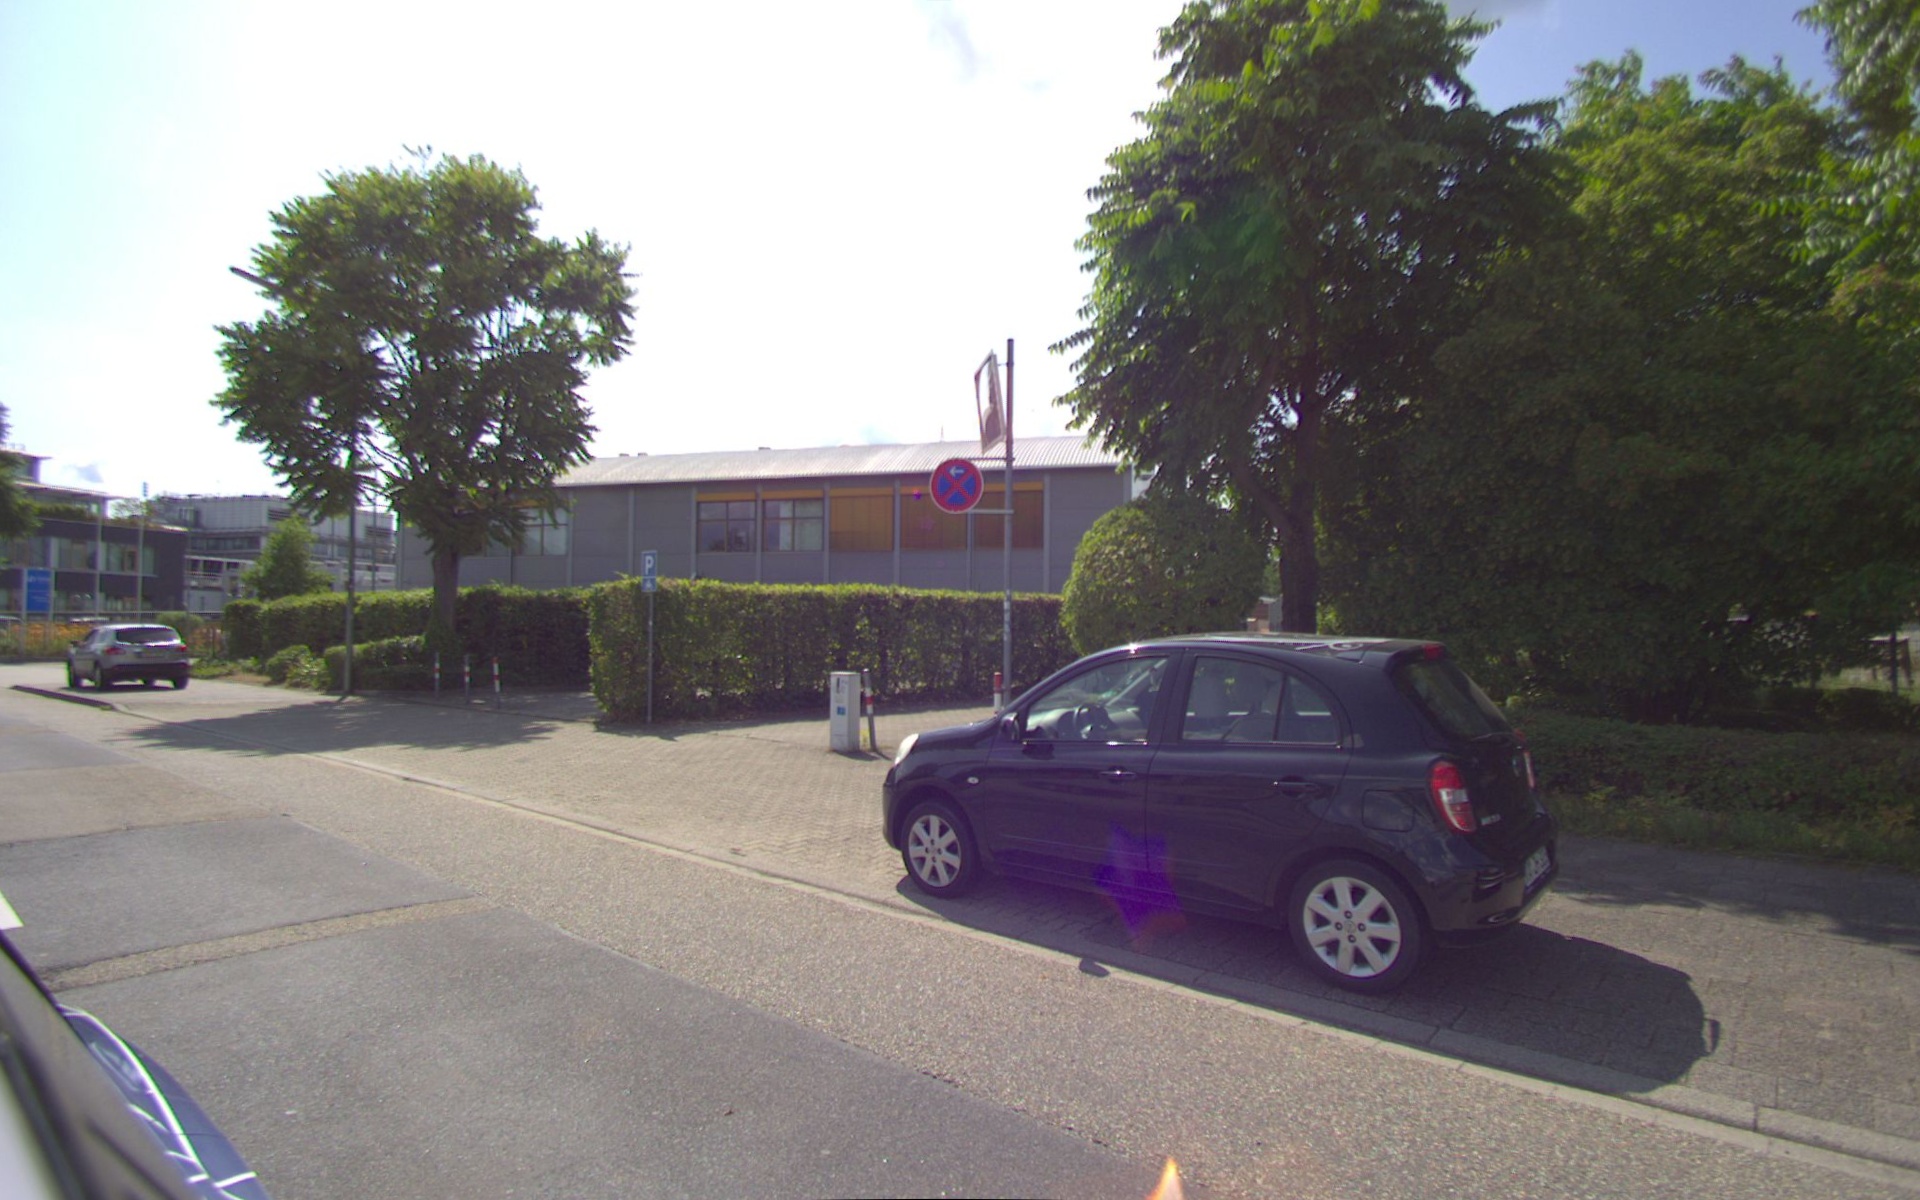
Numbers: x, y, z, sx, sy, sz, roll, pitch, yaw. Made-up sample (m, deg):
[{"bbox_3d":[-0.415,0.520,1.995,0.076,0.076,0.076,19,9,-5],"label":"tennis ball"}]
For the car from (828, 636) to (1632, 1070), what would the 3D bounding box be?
[{"bbox_3d":[1.280,1.017,5.750,3.998,1.519,1.826,-2,-1,41],"label":"car"}]

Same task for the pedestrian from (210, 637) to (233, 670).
[{"bbox_3d":[-38.390,2.780,52.613,0.726,1.704,0.547,3,-2,11],"label":"pedestrian"}]

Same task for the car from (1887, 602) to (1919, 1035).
[{"bbox_3d":[4.799,0.801,2.701,3.270,1.658,1.634,-2,-1,39],"label":"car"}]

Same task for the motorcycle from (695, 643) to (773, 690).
[{"bbox_3d":[-5.953,1.732,26.694,1.987,1.211,0.531,-1,-3,15],"label":"motorcycle"}]

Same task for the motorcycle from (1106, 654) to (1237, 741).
[{"bbox_3d":[3.167,1.438,15.292,1.939,1.229,0.526,-2,-4,41],"label":"motorcycle"}]

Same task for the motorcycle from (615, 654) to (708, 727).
[{"bbox_3d":[-5.400,1.601,18.241,2.084,1.229,0.527,-2,-4,40],"label":"motorcycle"}]

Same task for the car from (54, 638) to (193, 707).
[{"bbox_3d":[-21.106,1.753,25.473,4.470,1.586,1.741,-2,-2,38],"label":"car"}]

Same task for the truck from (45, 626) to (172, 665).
[{"bbox_3d":[-61.376,3.283,73.201,2.382,2.678,6.901,-1,-3,14],"label":"truck"}]
